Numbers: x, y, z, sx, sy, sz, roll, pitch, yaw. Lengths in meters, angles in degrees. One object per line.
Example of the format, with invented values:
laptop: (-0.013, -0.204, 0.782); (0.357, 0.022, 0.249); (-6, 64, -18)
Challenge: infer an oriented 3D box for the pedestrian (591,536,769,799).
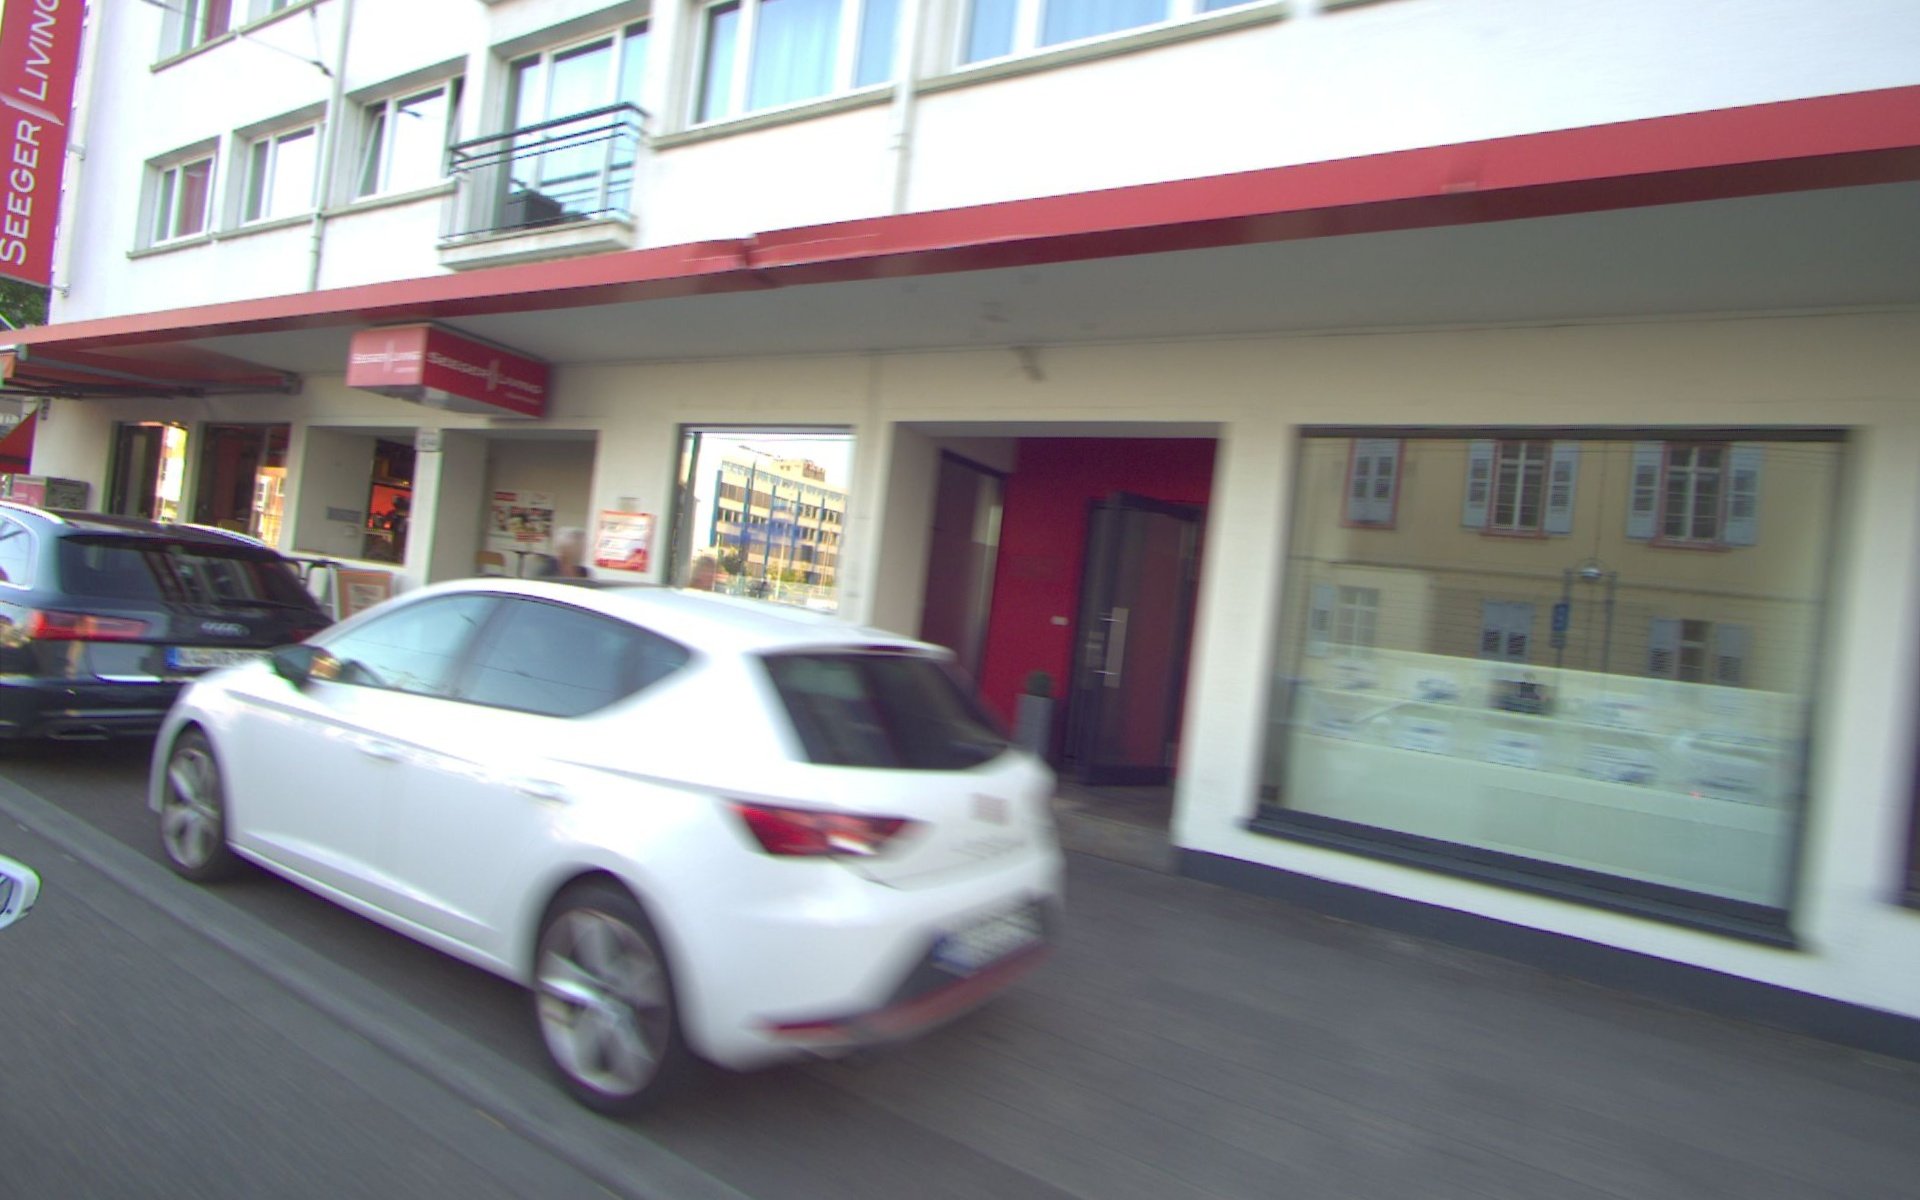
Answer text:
pedestrian: (-2.065, 0.476, 7.446); (0.849, 1.763, 0.729); (7, 1, 32)

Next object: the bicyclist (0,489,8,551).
bicyclist: (-25.841, -2.161, 26.313); (1.105, 1.642, 0.832); (7, 0, -35)

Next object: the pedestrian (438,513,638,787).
pedestrian: (-2.956, 0.333, 7.073); (0.829, 1.740, 0.827); (7, 1, 32)

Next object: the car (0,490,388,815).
car: (-6.009, 0.087, 6.738); (4.608, 1.531, 1.736); (7, 1, 32)

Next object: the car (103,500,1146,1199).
car: (-1.527, 0.581, 4.075); (3.985, 1.531, 1.786); (7, 1, 32)

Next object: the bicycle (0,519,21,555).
bicycle: (-25.982, -1.769, 26.248); (1.995, 0.891, 0.833); (8, -1, -35)
